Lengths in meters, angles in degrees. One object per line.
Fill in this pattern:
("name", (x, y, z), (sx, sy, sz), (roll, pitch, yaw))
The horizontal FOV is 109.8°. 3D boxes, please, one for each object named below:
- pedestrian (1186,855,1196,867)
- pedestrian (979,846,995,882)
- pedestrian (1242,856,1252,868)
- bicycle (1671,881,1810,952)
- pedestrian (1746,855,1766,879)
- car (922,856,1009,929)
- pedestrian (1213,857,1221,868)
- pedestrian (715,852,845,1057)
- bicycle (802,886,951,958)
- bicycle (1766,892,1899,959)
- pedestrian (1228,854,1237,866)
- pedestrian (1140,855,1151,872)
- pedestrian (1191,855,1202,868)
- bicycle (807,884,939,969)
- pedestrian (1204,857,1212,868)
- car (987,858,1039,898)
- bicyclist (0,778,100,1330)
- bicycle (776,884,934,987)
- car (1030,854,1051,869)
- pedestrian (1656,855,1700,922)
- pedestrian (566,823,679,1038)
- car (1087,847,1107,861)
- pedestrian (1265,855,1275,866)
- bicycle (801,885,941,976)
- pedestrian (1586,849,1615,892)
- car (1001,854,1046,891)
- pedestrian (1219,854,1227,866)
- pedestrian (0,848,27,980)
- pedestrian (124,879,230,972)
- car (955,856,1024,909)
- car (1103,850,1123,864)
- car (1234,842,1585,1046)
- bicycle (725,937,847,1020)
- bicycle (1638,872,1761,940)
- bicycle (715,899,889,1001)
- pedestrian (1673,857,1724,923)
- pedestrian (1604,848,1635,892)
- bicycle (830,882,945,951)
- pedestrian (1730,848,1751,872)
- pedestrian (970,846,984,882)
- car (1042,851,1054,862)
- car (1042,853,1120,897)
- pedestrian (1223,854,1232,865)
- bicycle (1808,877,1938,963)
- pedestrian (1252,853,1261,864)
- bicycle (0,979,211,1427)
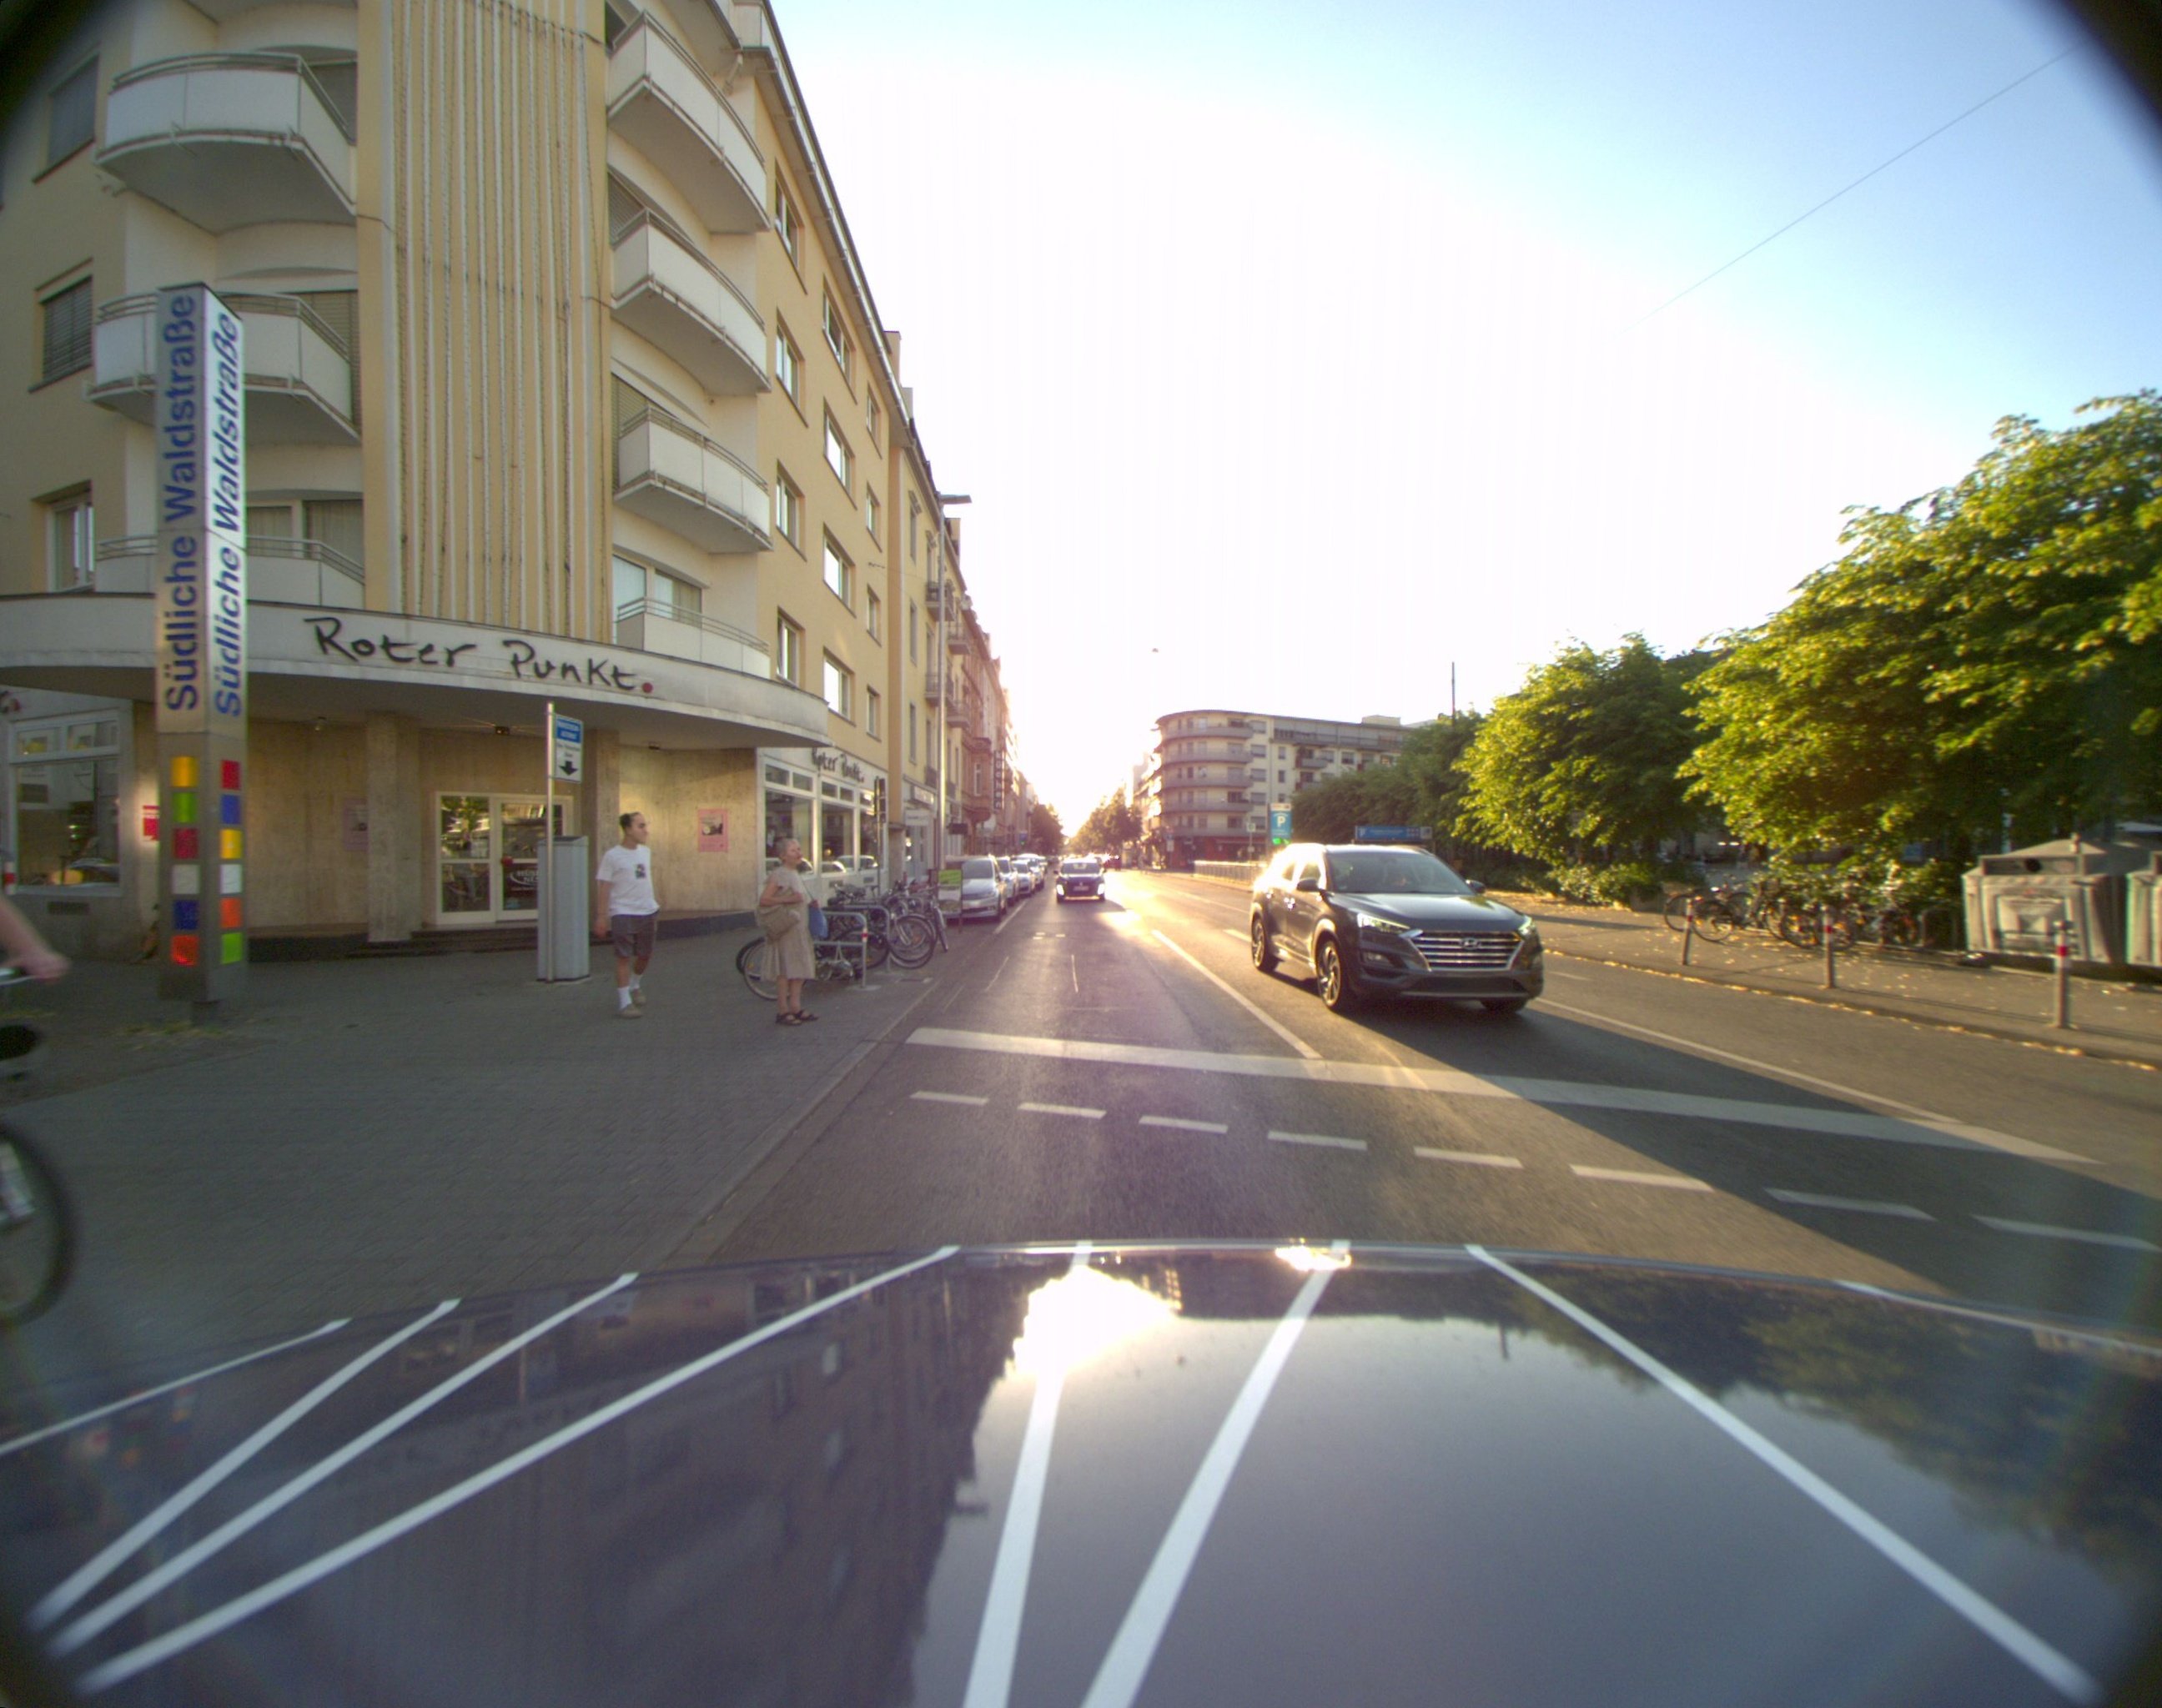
("pedestrian", (12.225, 0.788, 84.431), (0.890, 1.314, 0.731), (-1, 1, -28))
("pedestrian", (-5.263, 0.559, 42.703), (0.763, 2.002, 0.851), (0, 1, -1))
("pedestrian", (18.978, 0.915, 87.001), (0.733, 1.314, 0.887), (0, 1, -16))
("bicycle", (11.364, 1.065, 13.113), (2.031, 1.128, 0.548), (-1, 1, -5))
("pedestrian", (38.701, 0.750, 43.550), (0.520, 1.368, 0.654), (0, 1, -15))
("car", (-2.810, 0.869, 19.410), (1.702, 1.607, 4.681), (0, 0, -3))
("pedestrian", (15.331, 0.944, 85.648), (0.732, 1.314, 0.888), (0, 1, -2))
("pedestrian", (-2.631, 0.805, 6.645), (0.789, 1.643, 0.782), (1, 1, 42))
("bicycle", (-3.191, 1.064, 12.038), (2.176, 1.069, 0.805), (1, 0, -8))
("bicycle", (12.038, 1.129, 12.185), (1.678, 0.973, 0.548), (-1, 1, -5))
("pedestrian", (17.144, 0.692, 85.994), (0.733, 1.314, 0.887), (0, 1, -14))
("pedestrian", (5.753, 0.825, 67.698), (0.678, 1.509, 0.676), (-1, 1, -43))
("pedestrian", (12.682, 0.818, 83.621), (0.890, 1.314, 0.731), (-1, 1, -32))
("bicycle", (-3.000, 1.045, 11.088), (1.788, 1.166, 0.621), (1, 0, -12))
("pedestrian", (14.141, 0.909, 84.593), (0.887, 1.185, 0.733), (0, 1, 9))
("car", (-2.734, 0.932, 31.276), (1.738, 1.448, 4.610), (0, 0, 0))
("bicyclist", (-3.991, 0.659, 2.353), (0.835, 1.815, 0.831), (0, 1, 7))
("bicycle", (-2.841, 1.012, 9.694), (1.849, 1.232, 0.639), (0, 1, -6))
("car", (-3.758, 0.674, 70.730), (1.909, 1.421, 4.448), (0, 0, -2))
("pedestrian", (18.525, 1.047, 23.590), (0.904, 2.002, 0.858), (0, 1, 26))
("pedestrian", (-4.188, 0.638, 6.946), (0.827, 1.806, 0.869), (0, 1, -32))
("car", (1.948, 0.056, 94.631), (1.878, 1.621, 4.176), (2, 0, -6))
("pedestrian", (21.935, 0.720, 88.154), (0.731, 1.314, 0.891), (0, 1, 38))
("bicycle", (-2.854, 1.037, 10.459), (1.788, 1.166, 0.621), (1, 0, -12))
("pedestrian", (24.500, 0.761, 35.820), (0.907, 2.002, 0.738), (-1, 1, -24))
("car", (-2.723, 0.824, 36.827), (1.877, 1.664, 4.429), (0, 0, 0))
("pedestrian", (16.022, 0.700, 85.620), (0.733, 1.314, 0.888), (0, 1, -3))
("pedestrian", (-14.085, 0.762, 9.588), (0.731, 1.659, 0.757), (0, 1, 25))
("pedestrian", (-12.244, 0.942, 10.309), (0.636, 1.178, 0.706), (0, 1, 16))
("car", (-3.002, 0.896, 25.650), (1.821, 1.611, 4.202), (0, 0, 0))
("car", (3.349, 0.308, 80.620), (1.790, 1.458, 3.956), (1, 1, -2))
("car", (3.195, 0.753, 8.557), (1.877, 1.679, 4.448), (1, 0, -2))
("bicycle", (-3.052, 1.277, 7.989), (1.008, 0.677, 1.049), (0, 0, -10))
("bicycle", (12.031, 0.996, 14.794), (2.031, 1.245, 0.548), (-1, 1, -5))
("bicycle", (-3.159, 1.085, 8.769), (1.788, 1.057, 0.718), (1, 0, -12))
("pedestrian", (19.399, 1.104, 23.890), (0.907, 2.002, 0.855), (0, 1, -14))
("pedestrian", (24.593, 0.727, 34.688), (0.906, 2.002, 0.738), (0, 1, -12))
("bicycle", (-3.300, 1.059, 13.035), (1.851, 1.117, 0.594), (1, 2, -12))
("pedestrian", (38.584, 0.335, 44.452), (0.662, 1.368, 0.654), (1, 0, -15))
("pedestrian", (-5.843, 0.550, 42.618), (0.673, 2.002, 0.851), (0, 1, 0))
("car", (-5.852, 0.414, 136.285), (1.999, 1.806, 3.997), (1, 2, -5))
("car", (0.100, 0.688, 27.620), (1.906, 1.438, 4.453), (0, 0, 12))
("pedestrian", (16.731, 0.610, 86.898), (0.689, 1.314, 0.819), (-1, 1, -25))
("bicycle", (12.138, 0.998, 11.660), (1.590, 1.245, 0.445), (-1, 1, -2))
("pedestrian", (20.830, 0.554, 90.217), (0.731, 1.314, 0.891), (0, 1, 38))
("bicycle", (-3.978, 1.043, 2.366), (1.823, 1.179, 0.794), (0, 1, 8))
